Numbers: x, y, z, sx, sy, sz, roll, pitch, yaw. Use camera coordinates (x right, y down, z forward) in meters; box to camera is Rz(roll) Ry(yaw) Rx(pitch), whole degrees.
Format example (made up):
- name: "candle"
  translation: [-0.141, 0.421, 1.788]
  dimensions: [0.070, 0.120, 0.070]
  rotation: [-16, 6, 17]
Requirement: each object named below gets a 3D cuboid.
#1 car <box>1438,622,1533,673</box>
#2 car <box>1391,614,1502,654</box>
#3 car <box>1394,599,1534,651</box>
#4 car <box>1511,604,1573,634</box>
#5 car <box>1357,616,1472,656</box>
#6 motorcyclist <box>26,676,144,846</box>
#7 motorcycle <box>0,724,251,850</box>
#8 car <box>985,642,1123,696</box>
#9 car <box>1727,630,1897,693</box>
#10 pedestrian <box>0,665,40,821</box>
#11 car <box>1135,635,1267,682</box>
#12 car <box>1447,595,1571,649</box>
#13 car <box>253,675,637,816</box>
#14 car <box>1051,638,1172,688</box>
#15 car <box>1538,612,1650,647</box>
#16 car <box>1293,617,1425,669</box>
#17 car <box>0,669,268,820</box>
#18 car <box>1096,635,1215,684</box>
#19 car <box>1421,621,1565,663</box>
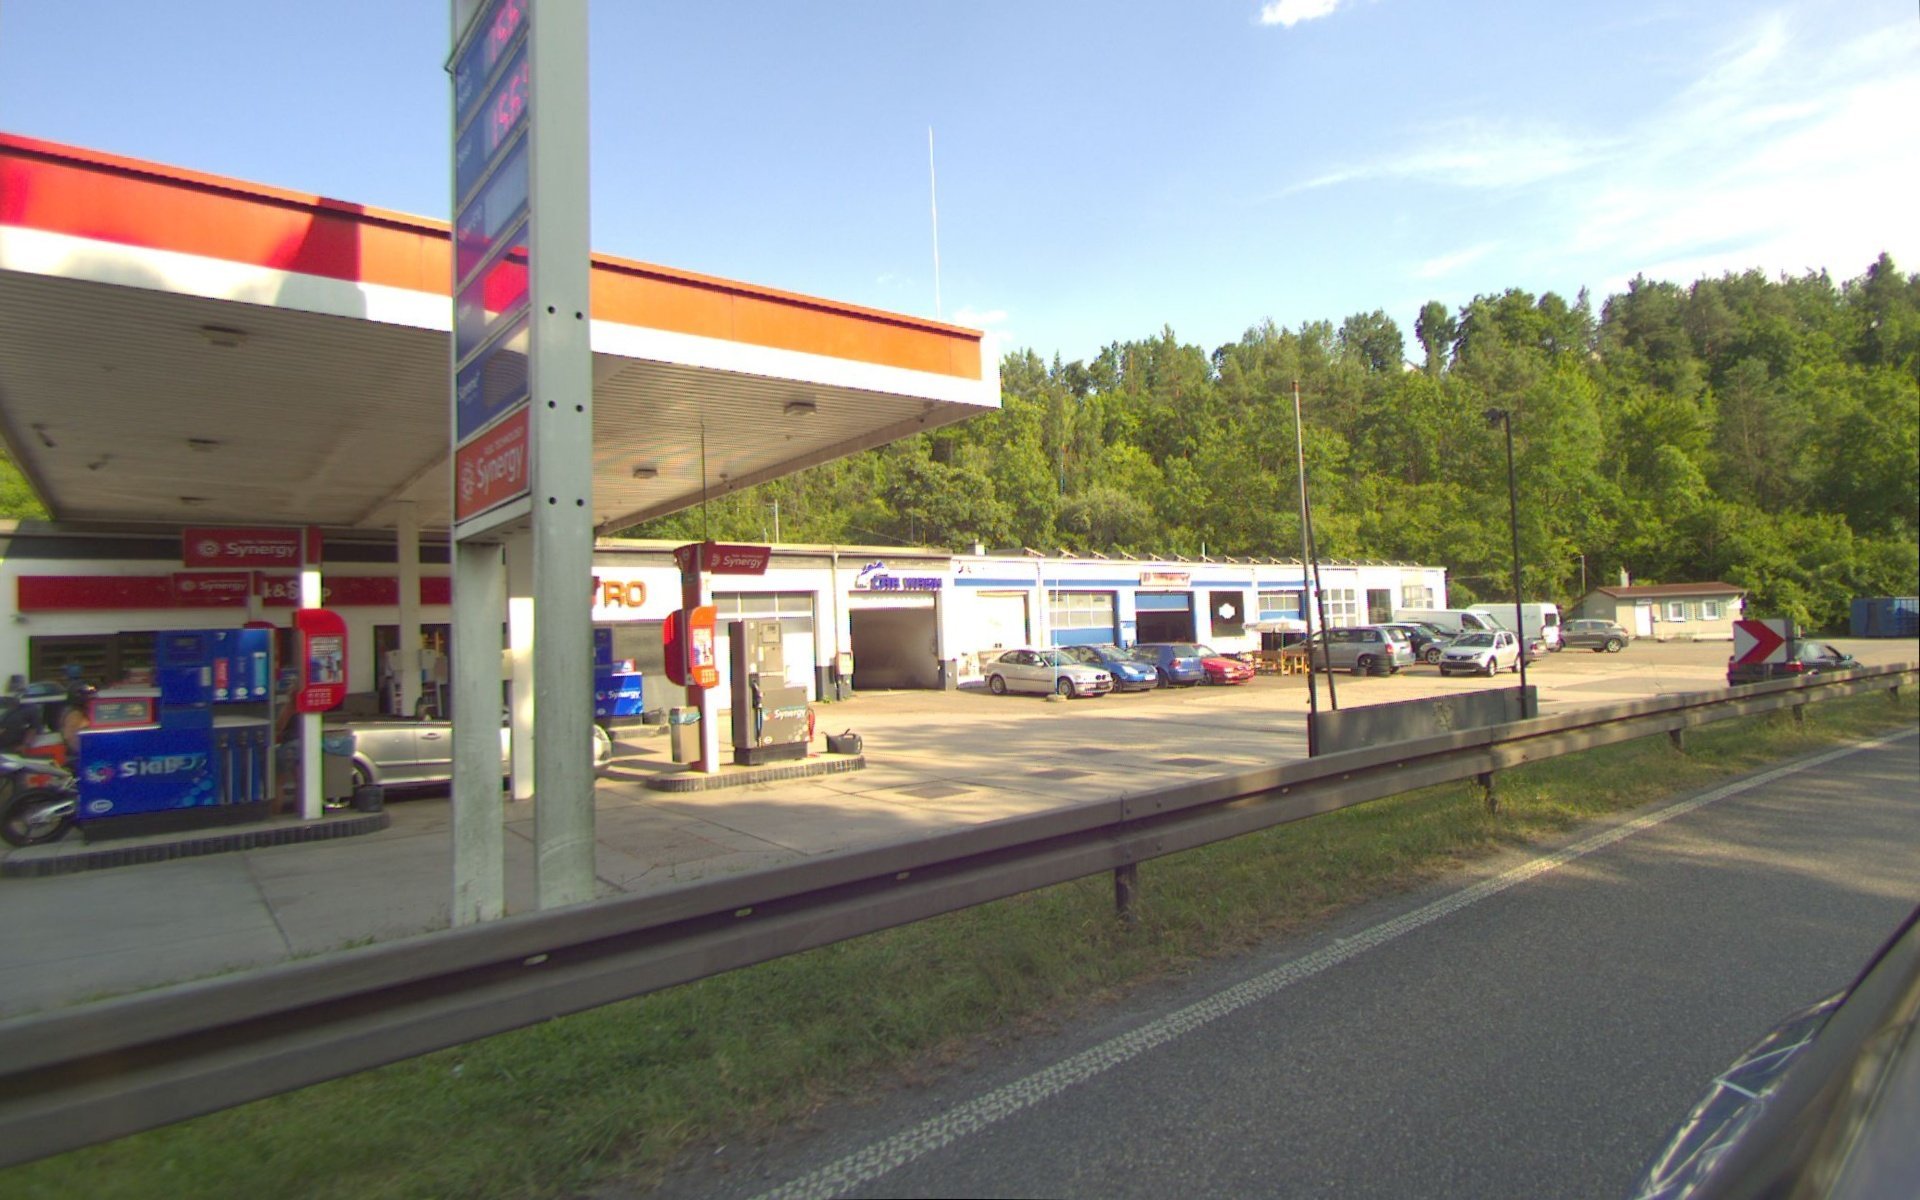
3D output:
- name: "car"
  translation: [18.663, 1.618, 35.888]
  dimensions: [3.922, 1.617, 1.792]
  rotation: [0, -1, -43]
- name: "car"
  translation: [22.138, 1.495, 46.159]
  dimensions: [1.890, 1.631, 4.168]
  rotation: [0, 0, -38]
- name: "car"
  translation: [23.715, 1.142, 47.815]
  dimensions: [2.254, 2.303, 5.486]
  rotation: [0, -1, -39]
- name: "car"
  translation: [41.983, 1.382, 73.147]
  dimensions: [1.964, 2.040, 4.554]
  rotation: [-1, -1, 3]
- name: "car"
  translation: [20.085, 1.554, 44.855]
  dimensions: [1.860, 1.631, 4.249]
  rotation: [0, -1, -38]
- name: "motorcyclist"
  translation: [-9.242, 1.653, 10.733]
  dimensions: [0.911, 1.626, 0.860]
  rotation: [0, -3, -39]
- name: "motorcycle"
  translation: [-9.047, 1.962, 10.865]
  dimensions: [2.299, 1.025, 0.763]
  rotation: [0, -2, -40]
- name: "car"
  translation: [2.723, 1.989, 29.973]
  dimensions: [1.747, 1.372, 3.961]
  rotation: [0, -1, -42]
- name: "car"
  translation: [21.156, 1.465, 25.099]
  dimensions: [4.186, 1.370, 1.831]
  rotation: [0, -1, -29]
- name: "pedestrian"
  translation: [-11.439, 1.692, 12.026]
  dimensions: [0.692, 1.800, 0.618]
  rotation: [0, -3, -38]
- name: "car"
  translation: [8.067, 1.926, 34.204]
  dimensions: [1.860, 1.365, 4.076]
  rotation: [0, -1, -38]
- name: "car"
  translation: [26.935, 1.047, 49.780]
  dimensions: [2.169, 2.480, 4.916]
  rotation: [0, -1, -40]
- name: "car"
  translation: [-6.774, 1.795, 13.534]
  dimensions: [4.310, 1.336, 1.846]
  rotation: [0, -2, -39]
- name: "car"
  translation: [4.679, 1.922, 31.596]
  dimensions: [1.660, 1.425, 3.557]
  rotation: [0, -2, -38]
- name: "car"
  translation: [31.811, 1.450, 50.931]
  dimensions: [4.335, 1.691, 1.936]
  rotation: [0, -1, 11]
- name: "car"
  translation: [14.961, 1.550, 38.127]
  dimensions: [1.859, 1.750, 4.254]
  rotation: [0, 0, -41]
- name: "car"
  translation: [-12.119, 1.850, 13.080]
  dimensions: [5.088, 1.649, 2.096]
  rotation: [0, -2, -40]
- name: "car"
  translation: [6.330, 1.916, 33.035]
  dimensions: [1.702, 1.464, 3.551]
  rotation: [0, -2, -38]
- name: "car"
  translation: [21.175, 1.611, 40.356]
  dimensions: [1.923, 1.452, 4.728]
  rotation: [0, 0, -40]
